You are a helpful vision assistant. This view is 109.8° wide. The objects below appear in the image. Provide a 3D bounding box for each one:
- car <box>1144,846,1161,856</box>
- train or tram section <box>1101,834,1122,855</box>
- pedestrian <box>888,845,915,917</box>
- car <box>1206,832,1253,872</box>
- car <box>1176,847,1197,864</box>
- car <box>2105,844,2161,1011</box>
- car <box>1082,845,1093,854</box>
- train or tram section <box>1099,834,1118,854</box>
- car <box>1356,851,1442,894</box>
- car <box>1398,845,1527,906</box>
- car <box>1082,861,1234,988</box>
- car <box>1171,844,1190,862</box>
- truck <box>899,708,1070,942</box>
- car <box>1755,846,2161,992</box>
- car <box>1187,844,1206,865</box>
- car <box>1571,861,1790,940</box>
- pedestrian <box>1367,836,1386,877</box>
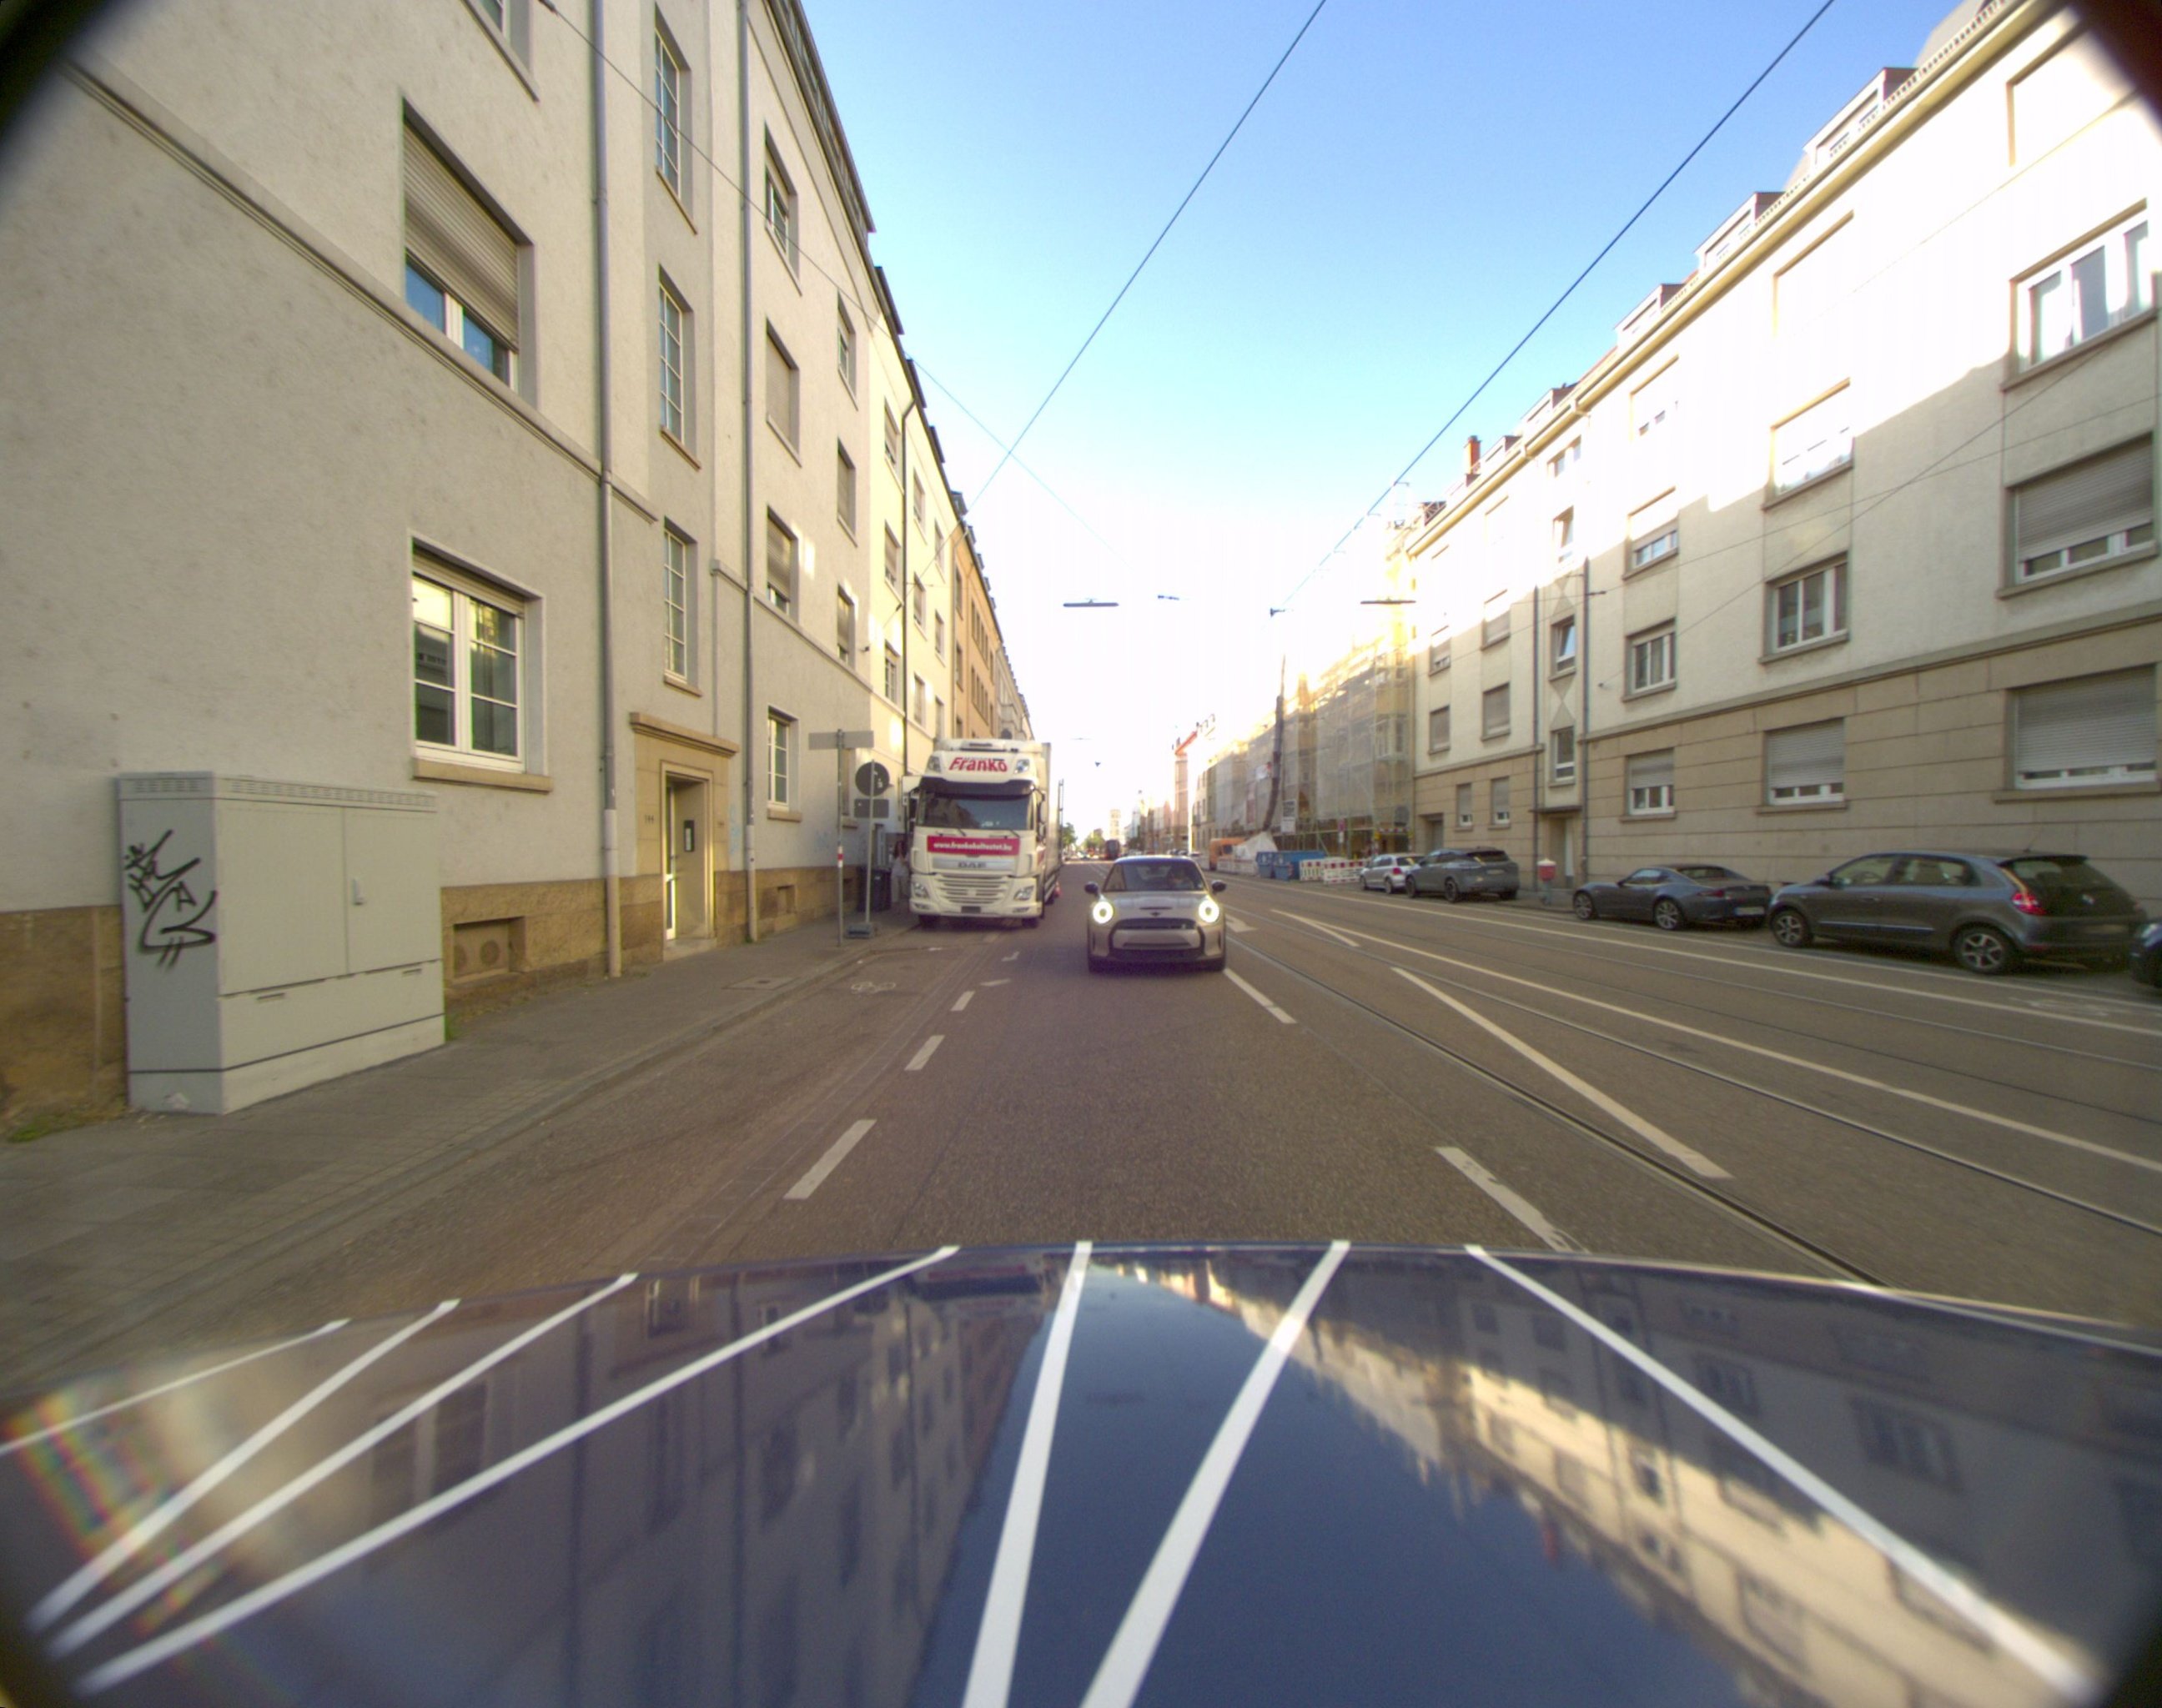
[{"bbox_3d":[11.363,-0.462,121.576,2.231,1.518,4.959,-2,1,1],"label":"car"},{"bbox_3d":[5.228,-1.677,131.510,2.867,3.542,13.039,-1,1,-1],"label":"train or tram section"},{"bbox_3d":[-4.116,0.607,17.433,0.475,1.620,0.467,0,2,2],"label":"pedestrian"},{"bbox_3d":[10.763,-0.219,55.530,2.215,2.681,5.872,-2,1,0],"label":"car"},{"bbox_3d":[10.996,0.108,79.226,1.570,1.674,3.936,-2,1,1],"label":"car"},{"bbox_3d":[11.632,0.724,5.774,1.819,1.624,4.324,-3,1,-2],"label":"car"},{"bbox_3d":[1.301,-0.915,153.763,1.999,1.871,4.269,-2,1,-2],"label":"car"},{"bbox_3d":[5.124,-1.900,144.704,2.867,3.542,13.331,-1,1,-1],"label":"train or tram section"},{"bbox_3d":[11.565,0.633,27.881,1.565,1.372,3.507,-3,1,-2],"label":"car"},{"bbox_3d":[11.614,0.594,23.487,1.751,1.600,4.158,-3,1,-2],"label":"car"},{"bbox_3d":[0.944,0.829,10.626,1.727,1.416,3.817,-1,0,2],"label":"car"},{"bbox_3d":[11.133,-0.168,85.538,1.570,1.945,4.183,-2,1,1],"label":"car"},{"bbox_3d":[-1.817,-0.666,19.667,2.700,4.214,11.775,-1,1,1],"label":"truck"},{"bbox_3d":[11.724,0.727,10.460,1.643,1.549,3.594,-3,1,0],"label":"car"},{"bbox_3d":[11.126,0.002,73.208,1.657,1.912,3.766,-2,1,7],"label":"car"},{"bbox_3d":[11.651,0.838,15.082,1.476,1.212,3.523,-3,1,-2],"label":"car"},{"bbox_3d":[13.903,0.118,35.769,0.519,1.861,0.762,-2,2,0],"label":"pedestrian"}]
